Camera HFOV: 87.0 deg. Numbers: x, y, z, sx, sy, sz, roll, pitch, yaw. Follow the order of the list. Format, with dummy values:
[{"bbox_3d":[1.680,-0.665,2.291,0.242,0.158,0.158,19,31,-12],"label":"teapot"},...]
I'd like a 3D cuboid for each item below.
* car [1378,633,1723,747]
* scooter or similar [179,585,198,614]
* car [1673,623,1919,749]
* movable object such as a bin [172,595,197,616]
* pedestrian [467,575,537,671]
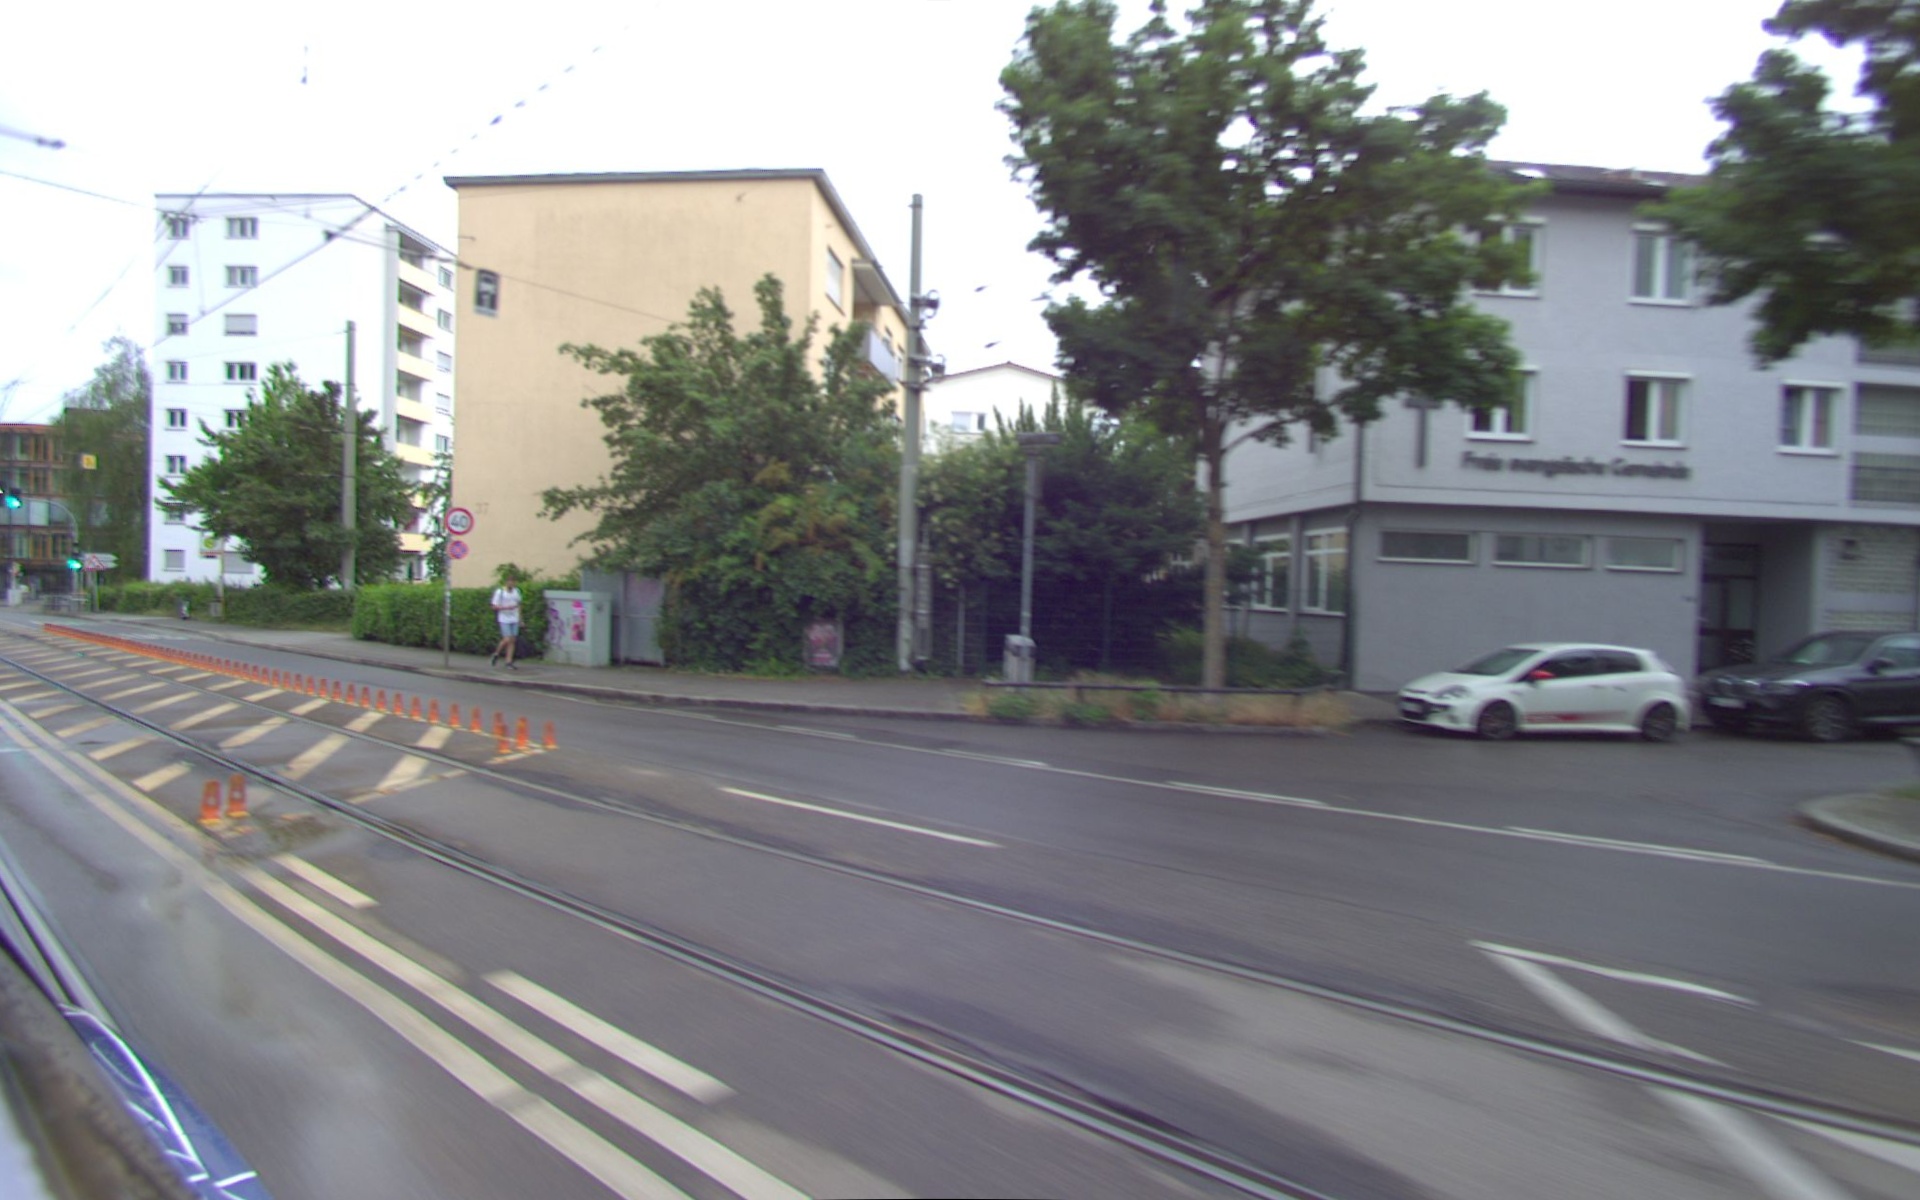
[{"bbox_3d":[8.915,1.335,15.547,4.099,1.492,2.002,1,0,-3],"label":"car"},{"bbox_3d":[-33.077,-0.045,43.389,0.565,1.193,1.602,0,2,-41],"label":"scooter or similar"},{"bbox_3d":[14.028,1.307,15.793,4.569,1.718,1.845,1,1,-5],"label":"car"},{"bbox_3d":[-34.334,0.230,44.806,0.759,0.888,0.680,2,2,36],"label":"movable object such as a bin"},{"bbox_3d":[-9.306,0.436,20.570,1.015,1.859,0.911,2,2,36],"label":"pedestrian"}]
